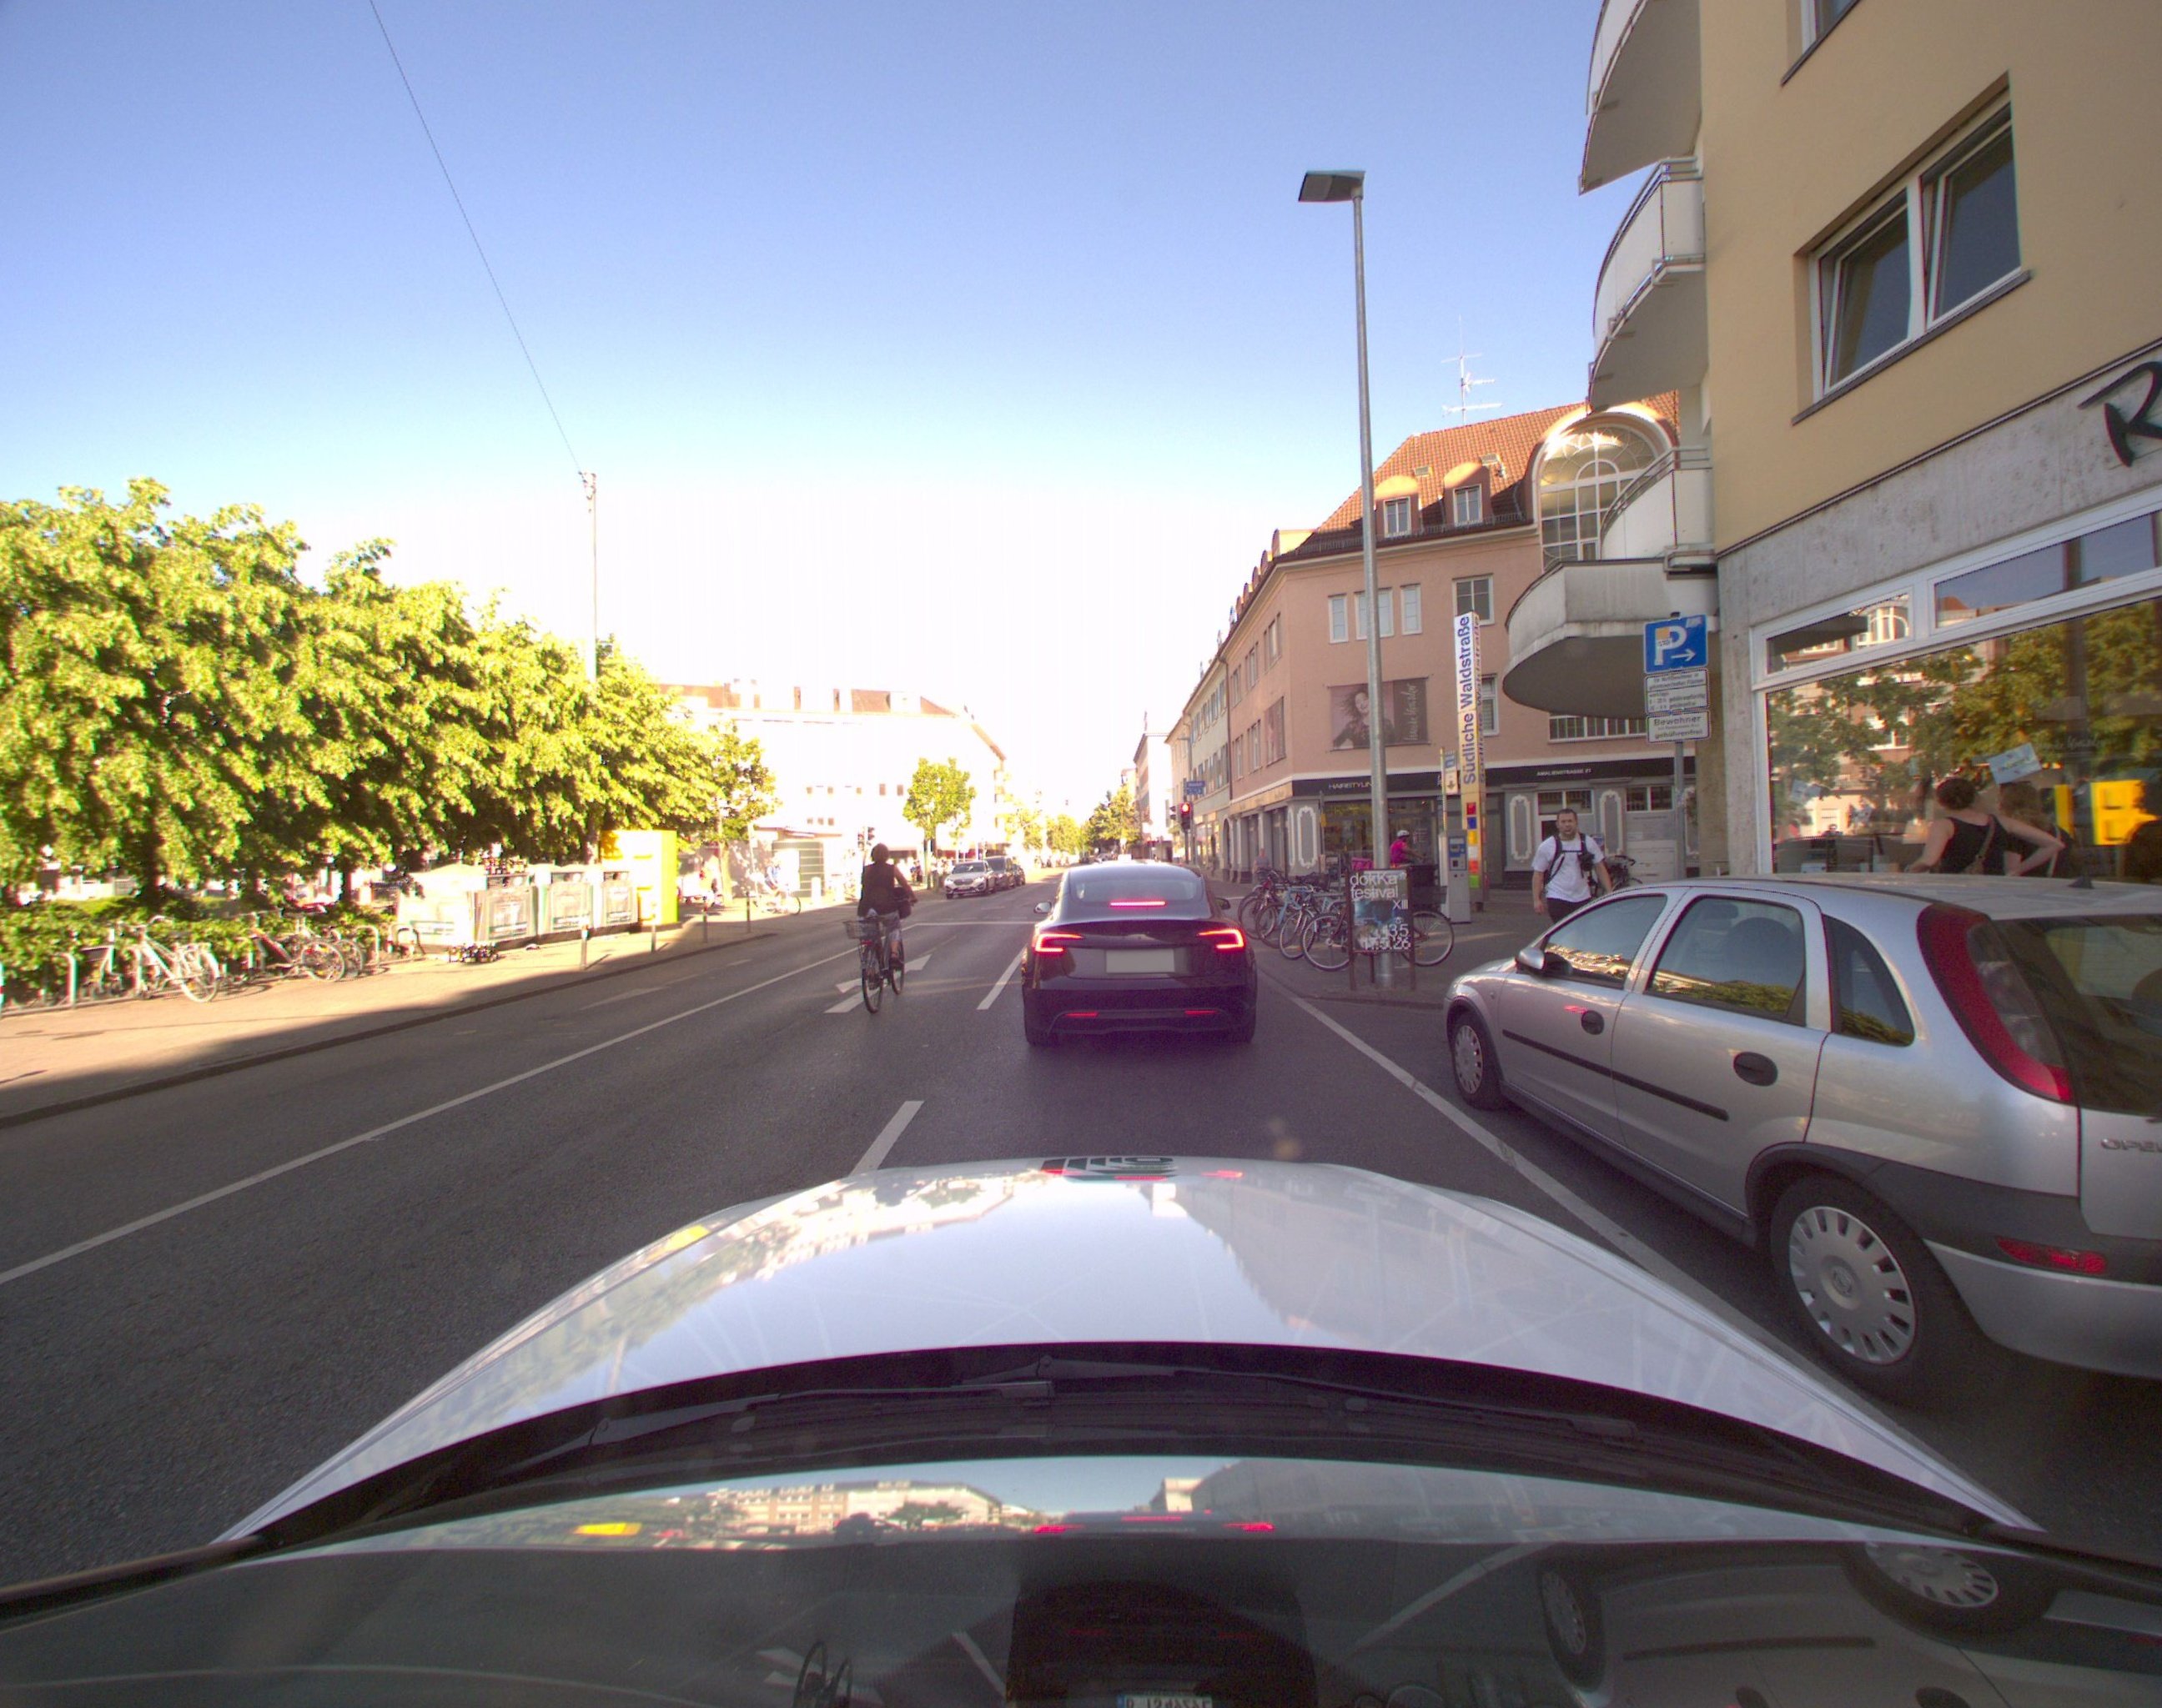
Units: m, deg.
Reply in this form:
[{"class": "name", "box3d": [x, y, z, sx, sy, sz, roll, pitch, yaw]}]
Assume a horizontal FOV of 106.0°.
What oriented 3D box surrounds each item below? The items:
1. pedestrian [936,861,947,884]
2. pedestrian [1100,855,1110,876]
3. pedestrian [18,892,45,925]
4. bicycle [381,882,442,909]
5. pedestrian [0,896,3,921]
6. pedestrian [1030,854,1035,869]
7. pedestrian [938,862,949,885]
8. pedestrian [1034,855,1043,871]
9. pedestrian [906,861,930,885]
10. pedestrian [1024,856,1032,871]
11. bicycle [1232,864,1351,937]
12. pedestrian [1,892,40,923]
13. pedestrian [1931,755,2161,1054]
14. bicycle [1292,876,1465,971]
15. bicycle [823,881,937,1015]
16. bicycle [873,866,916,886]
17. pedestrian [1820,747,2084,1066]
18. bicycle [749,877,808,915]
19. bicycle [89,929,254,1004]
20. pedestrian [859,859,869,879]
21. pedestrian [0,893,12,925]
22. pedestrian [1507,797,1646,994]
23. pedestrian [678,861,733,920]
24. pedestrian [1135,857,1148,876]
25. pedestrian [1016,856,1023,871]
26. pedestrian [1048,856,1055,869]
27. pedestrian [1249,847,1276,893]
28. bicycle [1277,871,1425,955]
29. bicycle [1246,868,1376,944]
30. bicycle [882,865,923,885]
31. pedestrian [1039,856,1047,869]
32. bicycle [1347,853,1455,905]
[{"class": "pedestrian", "box3d": [-10.850, 1.463, 63.396, 0.661, 1.760, 0.648, 0, -1, -24]}, {"class": "pedestrian", "box3d": [1.963, 0.947, 66.516, 0.660, 1.760, 0.649, 0, -1, -22]}, {"class": "pedestrian", "box3d": [-50.555, 2.625, 39.248, 0.827, 1.520, 0.782, -1, -1, 38]}, {"class": "bicycle", "box3d": [-22.866, 1.415, 27.819, 1.840, 0.823, 0.583, -4, -1, 14]}, {"class": "pedestrian", "box3d": [-53.704, 2.707, 39.790, 0.867, 1.214, 0.895, 0, -1, -19]}, {"class": "pedestrian", "box3d": [-6.218, 0.968, 104.202, 0.693, 1.868, 0.658, 0, -1, -3]}, {"class": "pedestrian", "box3d": [-10.592, 1.483, 62.781, 0.844, 1.760, 0.704, 0, -1, -12]}, {"class": "pedestrian", "box3d": [-4.941, 1.091, 94.947, 0.726, 1.868, 0.796, -1, -1, 30]}, {"class": "pedestrian", "box3d": [-10.880, 1.258, 54.336, 1.085, 1.611, 1.271, -1, -1, 14]}, {"class": "pedestrian", "box3d": [-6.348, 1.121, 97.438, 0.734, 1.868, 0.787, 0, -1, -15]}, {"class": "bicycle", "box3d": [3.495, 0.770, 13.619, 1.806, 1.152, 0.653, -1, 0, 3]}, {"class": "pedestrian", "box3d": [-53.718, 2.701, 41.256, 1.029, 1.520, 1.023, 0, -1, -43]}, {"class": "pedestrian", "box3d": [6.277, 0.310, 5.244, 0.716, 1.754, 0.791, -4, -1, 15]}, {"class": "bicycle", "box3d": [3.635, 0.840, 10.060, 1.875, 1.044, 0.653, -2, 0, 3]}, {"class": "bicycle", "box3d": [-2.100, 0.932, 8.776, 0.625, 1.223, 2.002, 0, 0, 3]}, {"class": "bicycle", "box3d": [-12.001, 1.393, 52.554, 2.535, 1.251, 0.942, 0, -1, -1]}, {"class": "pedestrian", "box3d": [5.538, 0.322, 5.261, 0.676, 1.849, 0.897, -5, -1, 15]}, {"class": "bicycle", "box3d": [-9.774, 1.340, 26.302, 1.933, 1.162, 0.622, -1, -1, 27]}, {"class": "bicycle", "box3d": [-11.462, 1.411, 10.283, 1.560, 0.886, 0.470, 0, -1, 1]}, {"class": "pedestrian", "box3d": [-16.689, 1.167, 62.641, 0.624, 1.524, 0.577, 0, -1, -11]}, {"class": "pedestrian", "box3d": [-51.885, 2.631, 38.834, 0.928, 1.520, 0.924, 0, -1, -43]}, {"class": "pedestrian", "box3d": [4.845, 0.390, 8.041, 0.805, 1.823, 0.984, 0, -1, 5]}, {"class": "pedestrian", "box3d": [-11.296, 1.076, 24.526, 1.104, 1.719, 1.064, 0, -1, 7]}, {"class": "pedestrian", "box3d": [5.134, 1.027, 69.253, 0.812, 1.609, 0.702, 0, -1, -35]}, {"class": "pedestrian", "box3d": [-7.341, 1.126, 97.269, 0.734, 1.868, 0.787, 0, -1, -15]}, {"class": "pedestrian", "box3d": [-4.226, 1.255, 116.109, 0.776, 1.868, 1.003, 0, -1, -15]}, {"class": "pedestrian", "box3d": [6.320, 0.553, 28.380, 0.786, 1.549, 0.724, 0, -1, 2]}, {"class": "bicycle", "box3d": [3.655, 0.792, 11.133, 1.806, 1.060, 0.653, -1, 0, 3]}, {"class": "bicycle", "box3d": [3.518, 0.785, 12.544, 1.806, 1.102, 0.653, -1, 0, 3]}, {"class": "bicycle", "box3d": [-12.055, 1.413, 54.981, 2.535, 1.251, 0.942, 0, -1, -1]}, {"class": "pedestrian", "box3d": [-5.570, 1.288, 119.056, 0.700, 1.868, 0.900, 0, -1, -34]}, {"class": "bicycle", "box3d": [8.003, 0.618, 20.443, 2.376, 1.151, 0.714, -3, -1, 8]}]
